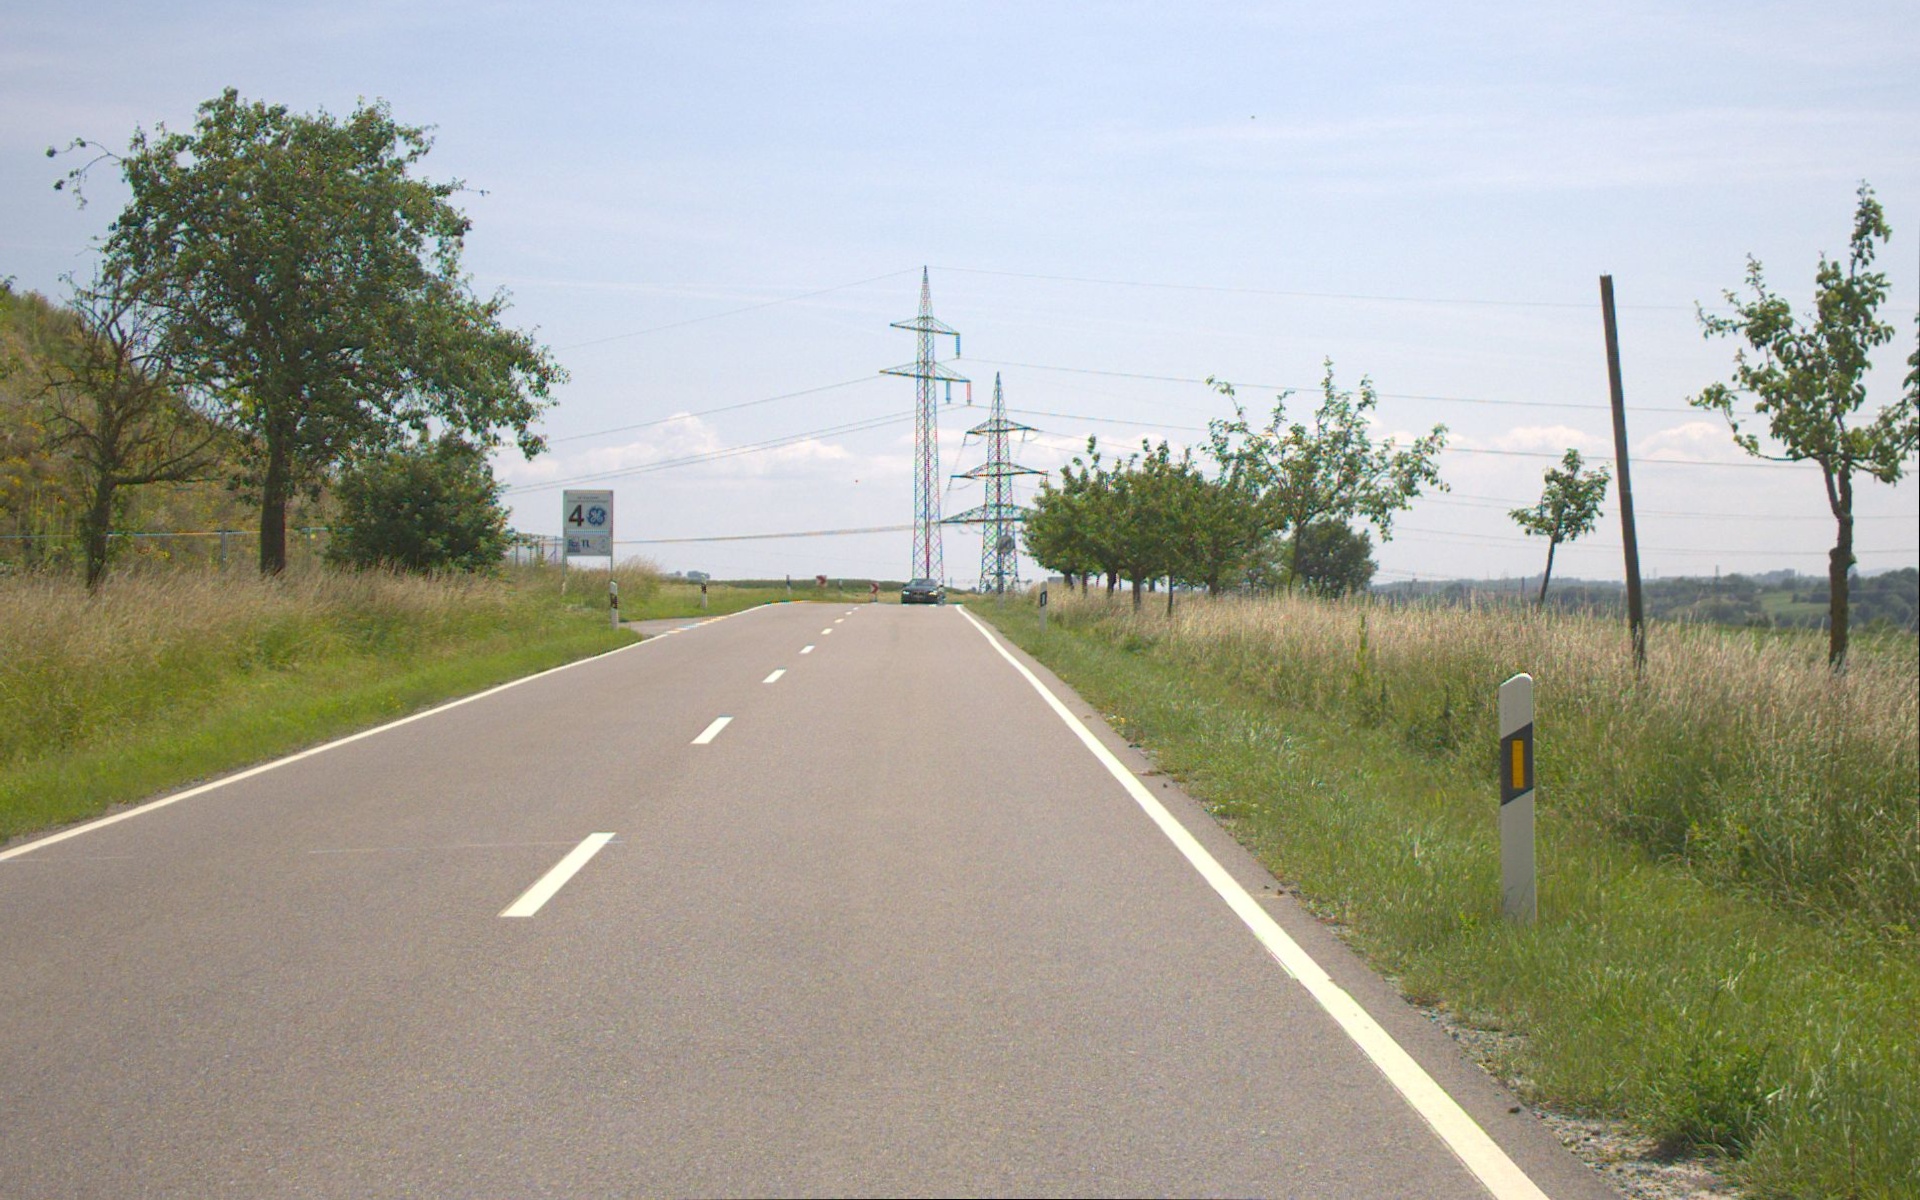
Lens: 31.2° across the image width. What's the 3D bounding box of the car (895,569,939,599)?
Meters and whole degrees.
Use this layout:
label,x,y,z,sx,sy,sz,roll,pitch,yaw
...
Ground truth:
label,x,y,z,sx,sy,sz,roll,pitch,yaw
car,-2.131,-0.798,170.141,1.823,1.406,3.999,0,1,4
